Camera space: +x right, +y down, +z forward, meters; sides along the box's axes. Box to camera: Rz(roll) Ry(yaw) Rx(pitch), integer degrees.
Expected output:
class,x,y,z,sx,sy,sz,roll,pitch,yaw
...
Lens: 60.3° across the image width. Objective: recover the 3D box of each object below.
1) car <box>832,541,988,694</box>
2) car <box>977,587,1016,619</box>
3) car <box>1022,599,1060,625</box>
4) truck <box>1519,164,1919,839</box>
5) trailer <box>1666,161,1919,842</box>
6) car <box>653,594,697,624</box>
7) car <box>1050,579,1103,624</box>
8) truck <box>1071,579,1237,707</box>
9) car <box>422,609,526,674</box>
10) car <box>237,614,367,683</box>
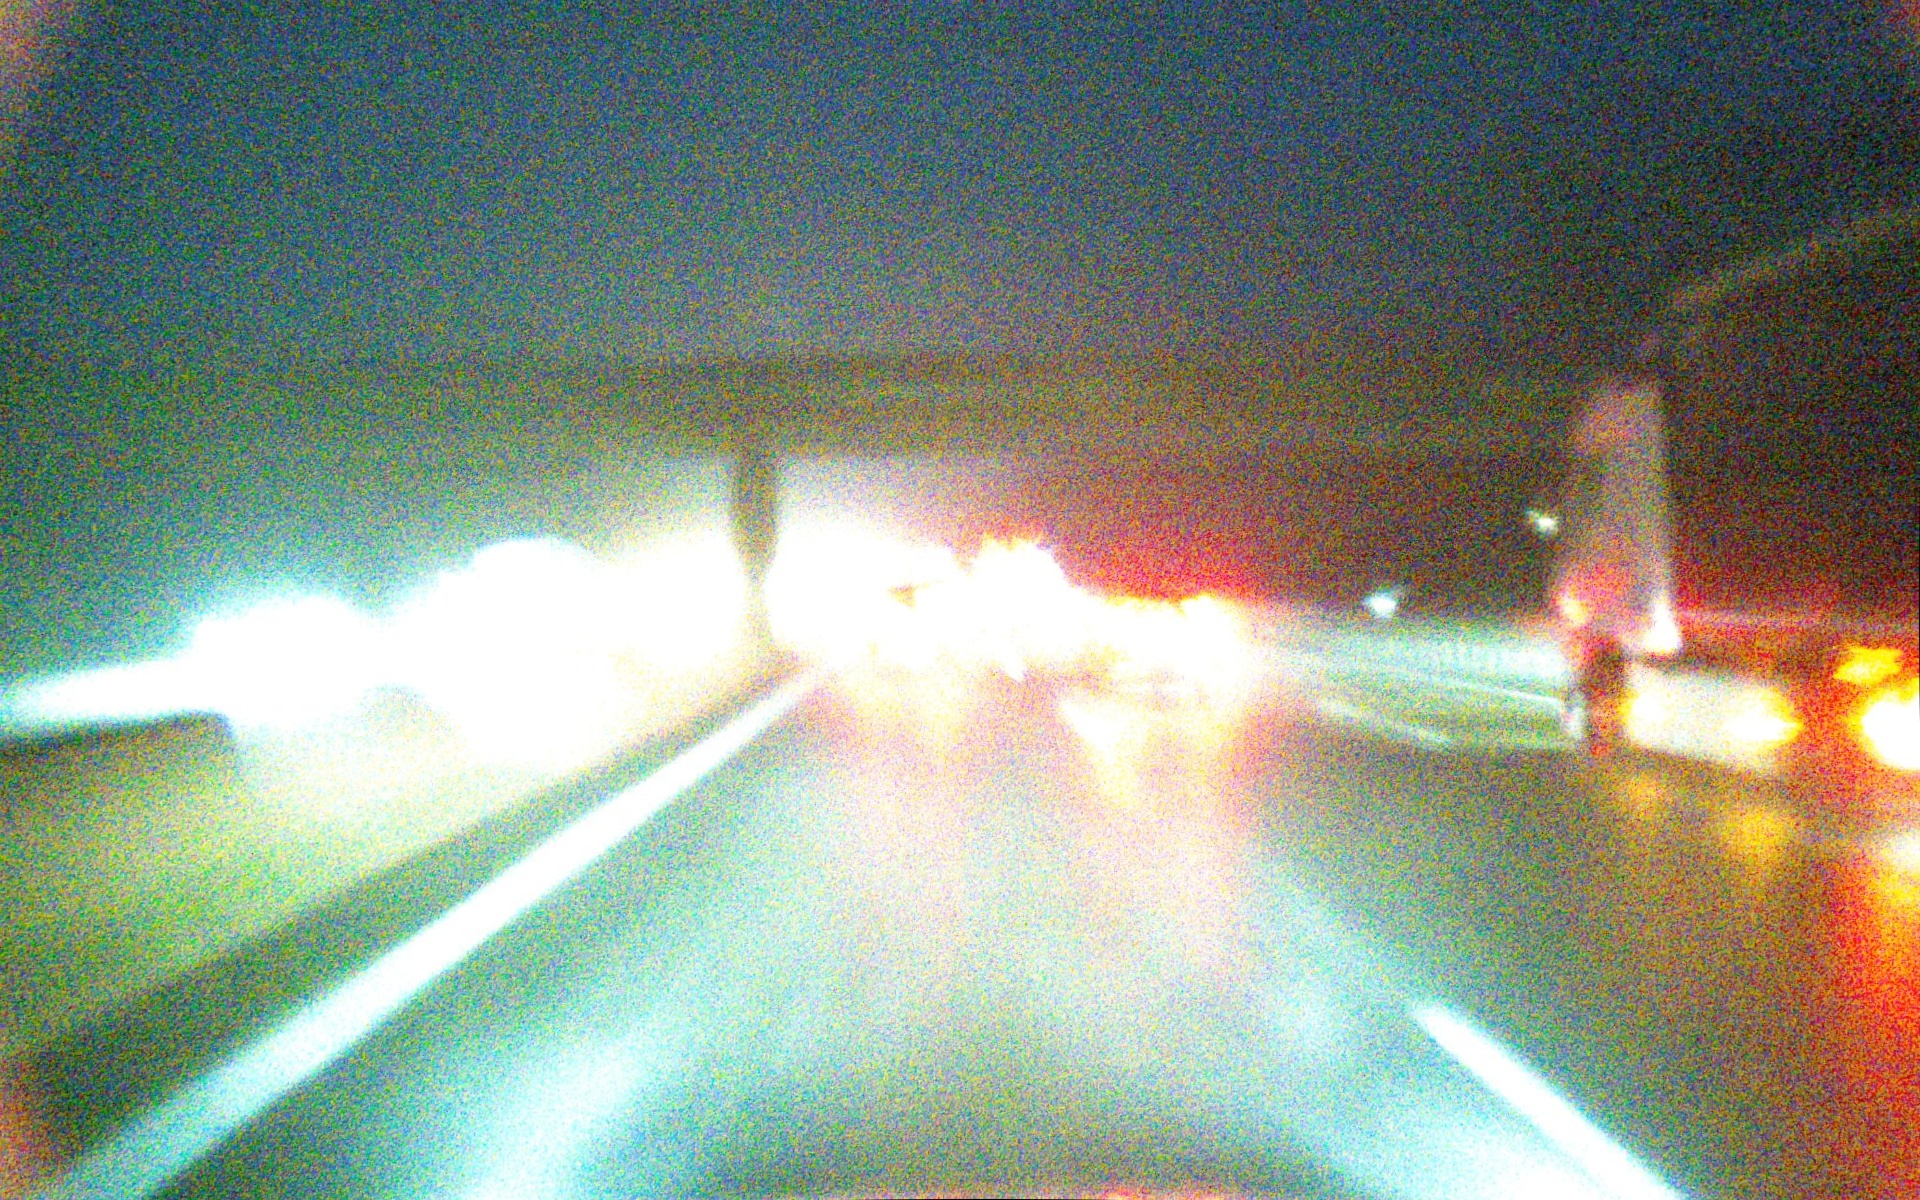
class,x,y,z,sx,sy,sz,roll,pitch,yaw
car,-1.047,0.261,31.766,2.656,2.578,5.827,-2,1,-4
car,1.728,0.137,79.166,1.580,1.437,3.789,1,0,-3
car,5.085,0.752,104.029,1.856,1.512,4.959,1,1,-3
truck,7.277,-0.596,13.653,2.801,4.175,7.012,1,0,-1
trailer,7.305,-0.592,6.777,2.806,4.169,13.638,1,0,-1
car,-15.163,0.473,88.189,1.749,1.553,4.378,1,0,-3
car,5.606,0.045,80.303,2.005,2.008,5.406,-2,1,-1
truck,2.844,0.594,25.264,1.806,1.726,4.852,1,0,-2
car,-13.062,1.087,44.631,1.699,1.534,3.794,-2,1,-1
car,-16.847,1.207,42.533,1.656,1.534,4.271,-2,1,-1
